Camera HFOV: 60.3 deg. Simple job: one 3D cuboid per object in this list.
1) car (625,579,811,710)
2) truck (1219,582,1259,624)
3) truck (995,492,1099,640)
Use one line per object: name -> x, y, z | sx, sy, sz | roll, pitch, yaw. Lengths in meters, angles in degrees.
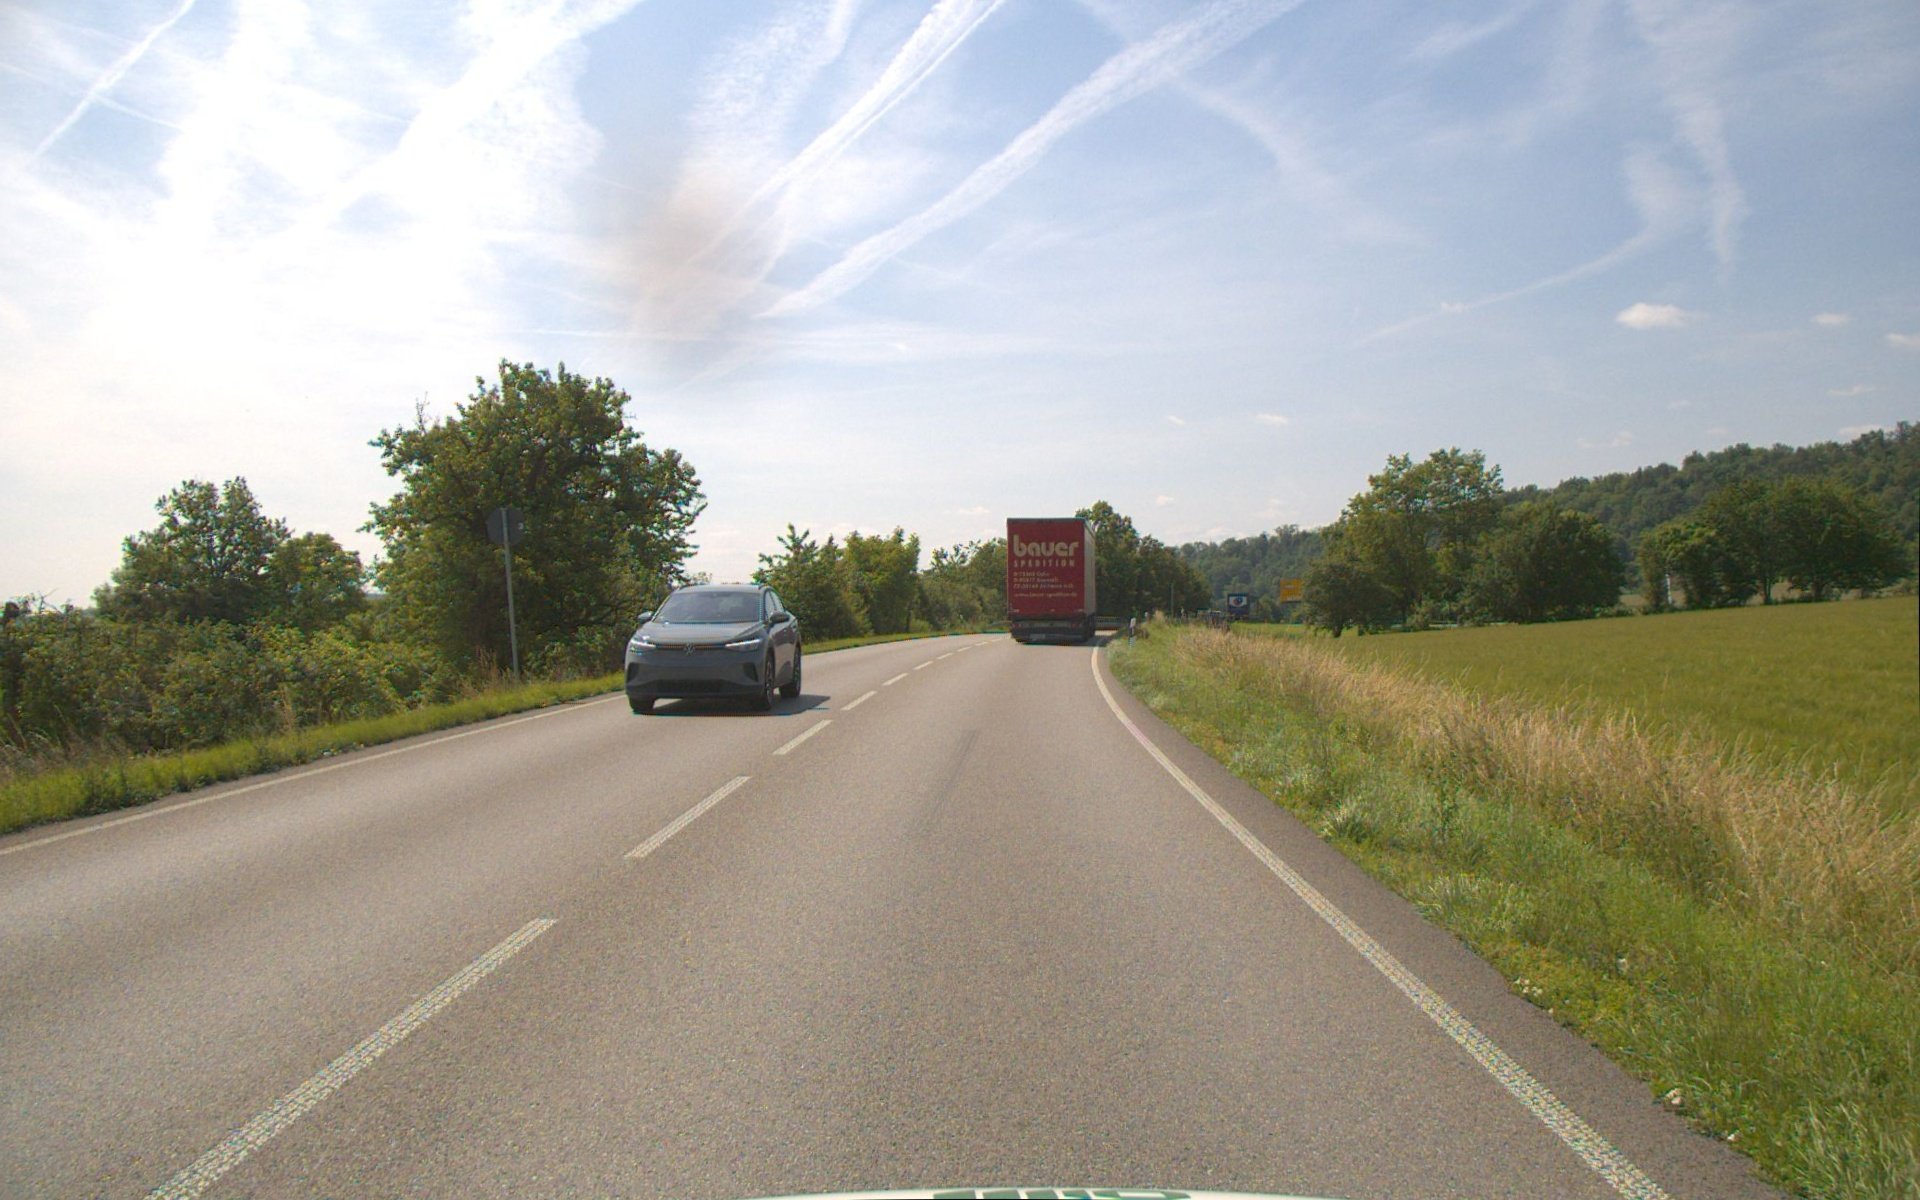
car -> -3.217, 0.550, 22.868 | 1.840, 1.621, 4.492 | 0, 0, 1
truck -> 34.257, 0.432, 202.400 | 3.820, 4.772, 16.389 | -2, -1, 12
truck -> 3.235, -1.000, 58.168 | 3.046, 4.585, 12.174 | 1, -1, 5
